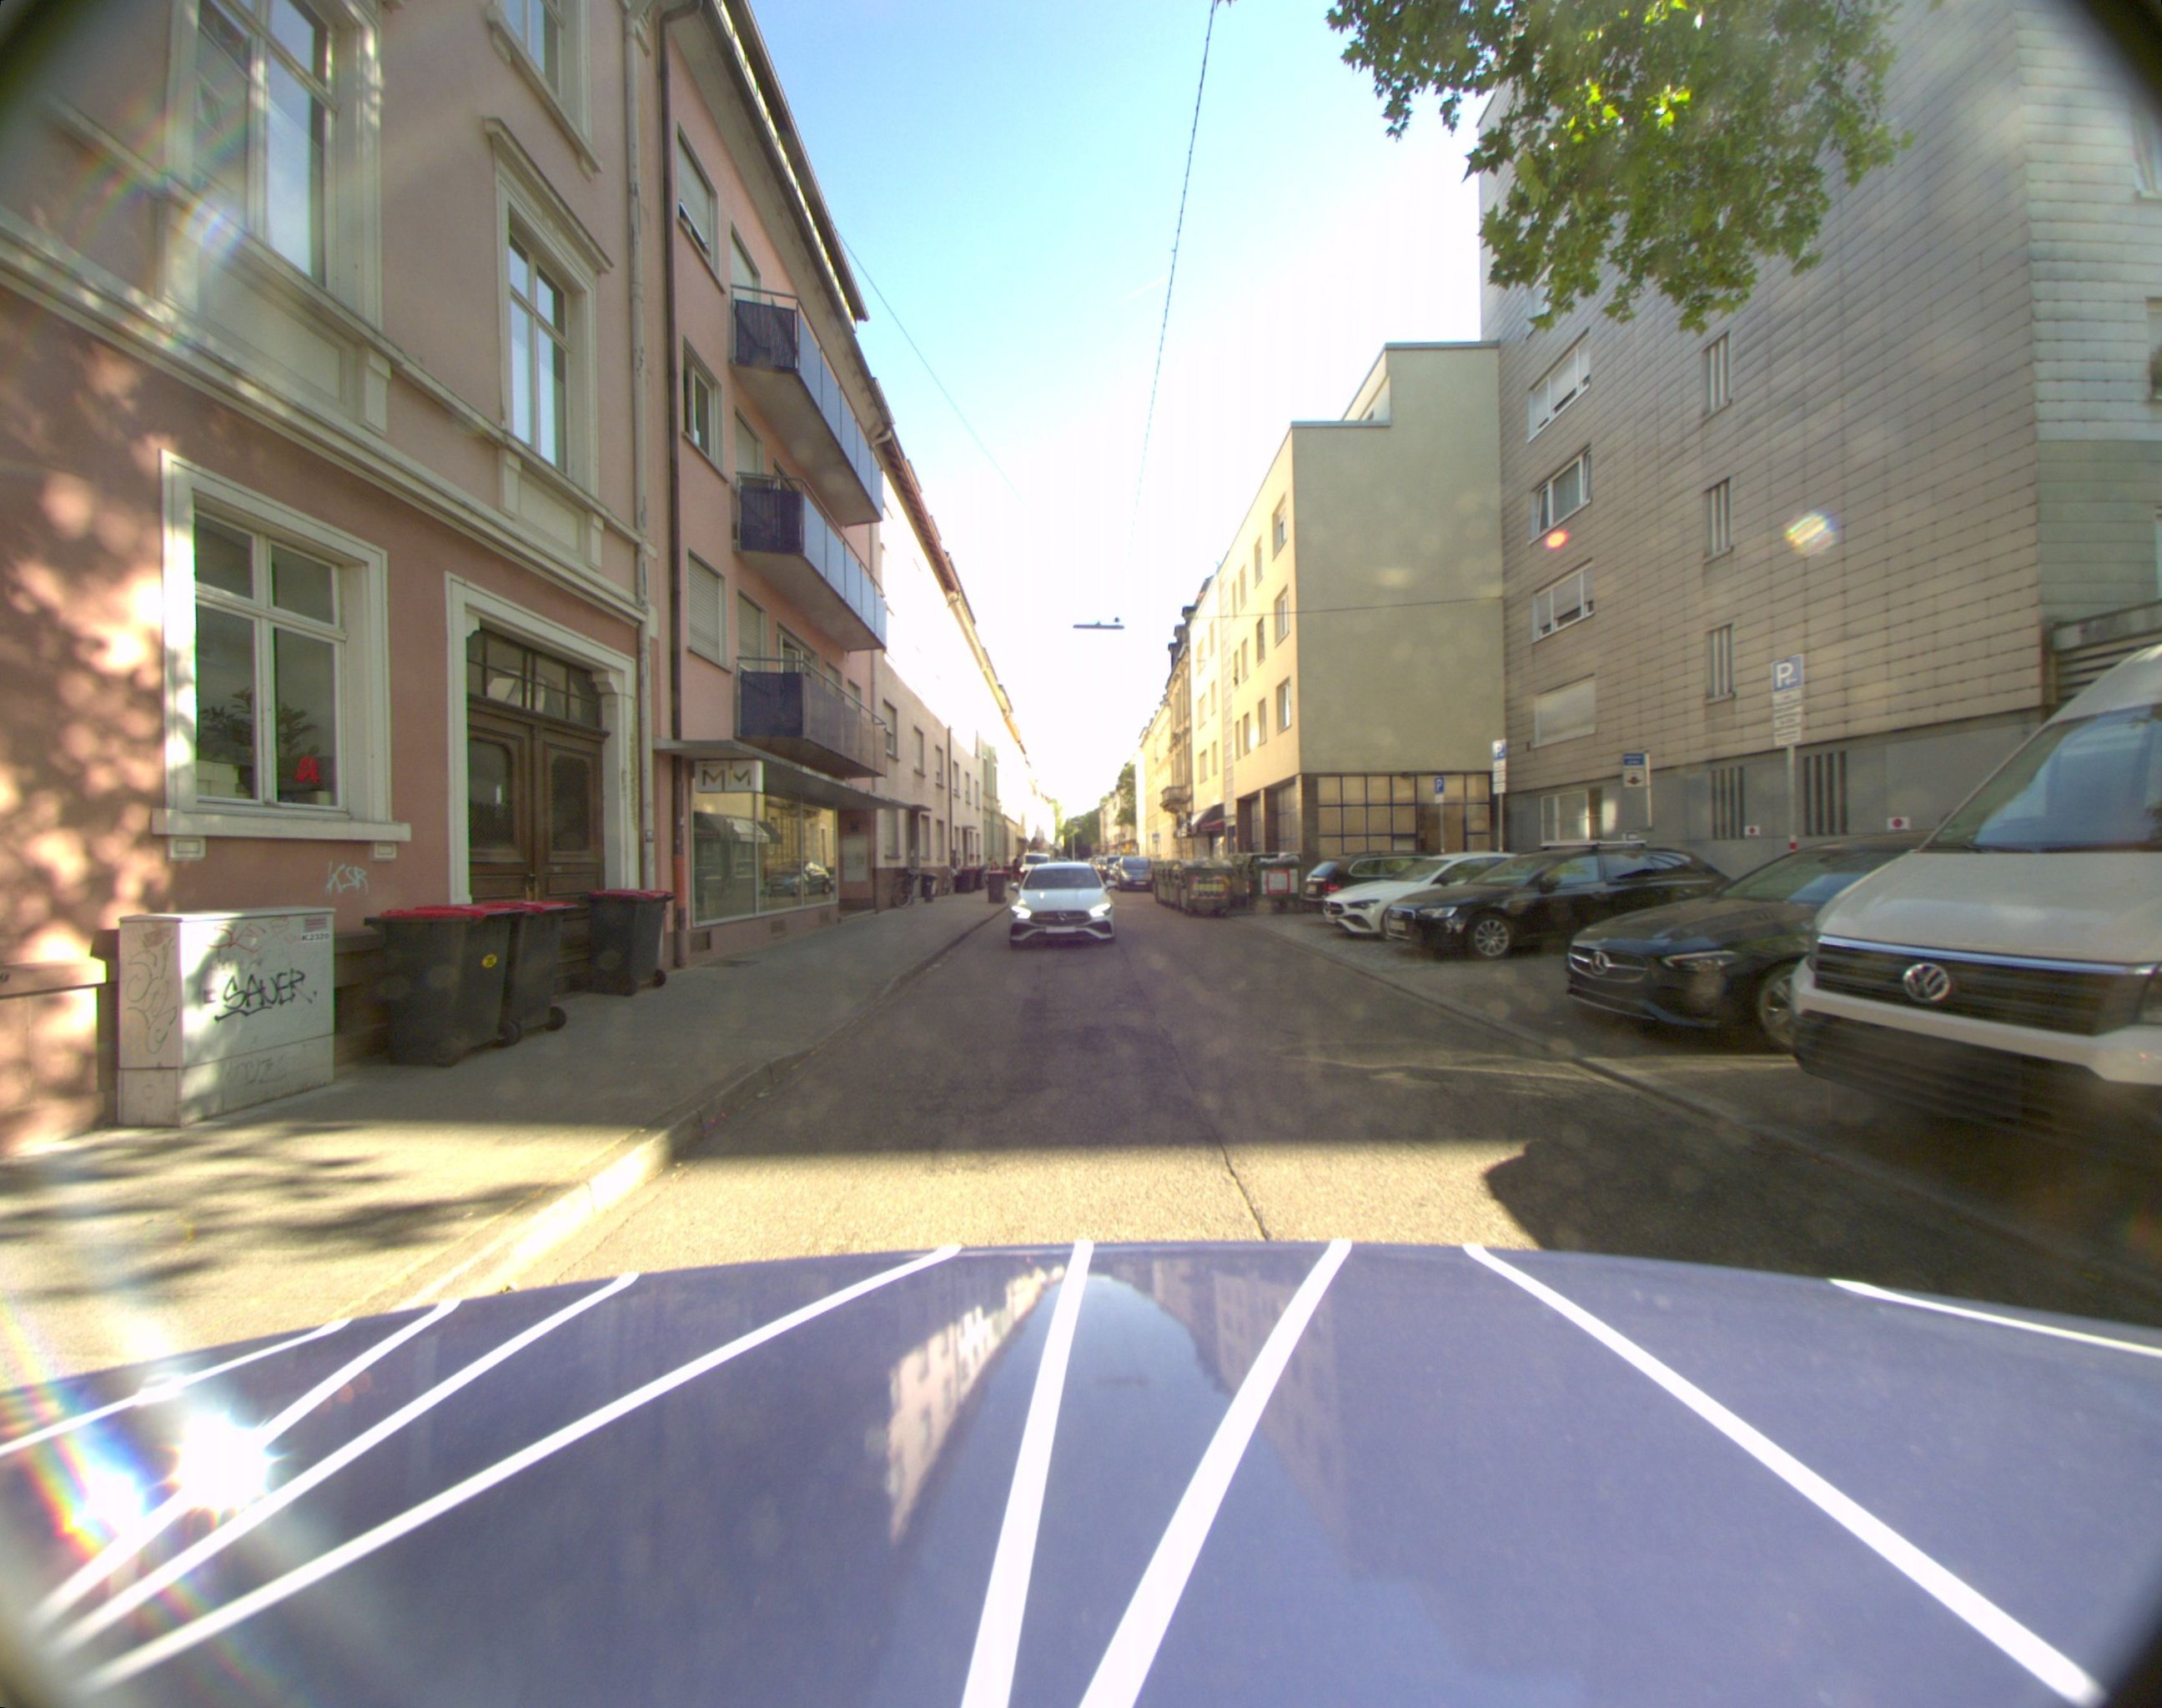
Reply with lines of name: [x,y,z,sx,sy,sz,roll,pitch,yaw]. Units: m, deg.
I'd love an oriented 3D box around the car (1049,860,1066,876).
car: [-2.570,1.550,83.705,1.765,1.698,4.327,-1,0,0]

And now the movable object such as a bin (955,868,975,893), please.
movable object such as a bin: [-4.880,1.113,31.983,0.717,0.996,0.546,2,0,-2]

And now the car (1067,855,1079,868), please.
car: [-1.142,1.083,109.211,1.765,1.698,4.327,-1,0,0]

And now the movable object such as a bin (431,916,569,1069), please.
movable object such as a bin: [-4.453,1.037,5.859,0.570,1.052,0.612,2,0,-1]

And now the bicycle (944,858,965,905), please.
bicycle: [-4.906,1.039,29.476,0.402,1.725,2.107,-1,0,1]

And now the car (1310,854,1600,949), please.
car: [6.524,0.789,13.475,4.417,1.454,1.599,-1,0,-6]

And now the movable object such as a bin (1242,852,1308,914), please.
movable object such as a bin: [4.879,0.712,19.233,1.328,1.491,1.195,-1,0,-2]

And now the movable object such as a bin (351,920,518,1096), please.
movable object such as a bin: [-4.431,1.027,5.252,0.570,1.078,0.654,2,0,-1]

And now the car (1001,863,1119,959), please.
car: [-0.313,0.953,14.600,1.862,1.448,4.563,-2,0,1]

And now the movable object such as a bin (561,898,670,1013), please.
movable object such as a bin: [-4.757,1.016,7.798,0.718,1.078,0.618,2,0,-2]

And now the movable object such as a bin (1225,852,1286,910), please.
movable object such as a bin: [4.704,0.717,20.615,1.222,1.491,1.517,-1,0,-2]

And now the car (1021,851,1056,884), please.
car: [-2.481,0.761,45.525,1.765,1.843,4.328,-1,0,1]

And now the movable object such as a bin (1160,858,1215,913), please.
movable object such as a bin: [3.072,0.874,22.094,1.247,1.491,1.925,-1,0,-2]

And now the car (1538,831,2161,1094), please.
car: [6.300,0.708,5.913,4.415,1.524,1.699,-3,0,-1]

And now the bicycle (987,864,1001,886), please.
bicycle: [-4.552,1.110,39.911,0.490,1.089,1.933,-1,0,1]

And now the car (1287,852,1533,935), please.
car: [6.760,0.783,15.836,4.417,1.524,1.698,-1,0,-6]

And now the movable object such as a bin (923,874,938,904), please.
movable object such as a bin: [-4.804,1.107,24.251,0.416,0.934,0.302,2,0,-2]

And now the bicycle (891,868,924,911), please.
bicycle: [-4.861,0.971,21.404,0.402,1.143,2.025,-1,0,1]

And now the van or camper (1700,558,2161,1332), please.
van or camper: [7.009,0.084,3.230,6.922,2.559,2.000,-4,0,1]

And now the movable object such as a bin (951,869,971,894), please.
movable object such as a bin: [-4.929,1.117,31.218,0.717,0.996,0.546,2,0,-2]

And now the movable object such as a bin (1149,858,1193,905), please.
movable object such as a bin: [3.008,0.891,25.512,1.222,1.491,1.560,-1,0,-2]

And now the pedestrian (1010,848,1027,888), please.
pedestrian: [-3.150,0.694,38.471,0.761,2.002,0.771,-1,0,1]

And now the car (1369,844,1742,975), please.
car: [6.669,0.723,10.908,4.417,1.607,1.698,-1,0,-6]

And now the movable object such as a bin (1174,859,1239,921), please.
movable object such as a bin: [3.234,0.904,19.804,1.241,1.491,1.877,-2,0,-2]

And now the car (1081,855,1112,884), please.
car: [0.951,0.939,46.873,1.765,1.698,4.328,-1,0,1]

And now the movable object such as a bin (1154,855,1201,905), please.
movable object such as a bin: [3.009,0.791,23.910,1.222,1.491,1.560,-1,0,-2]

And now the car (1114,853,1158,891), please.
car: [2.542,0.806,36.012,1.765,1.698,4.328,-1,0,1]
